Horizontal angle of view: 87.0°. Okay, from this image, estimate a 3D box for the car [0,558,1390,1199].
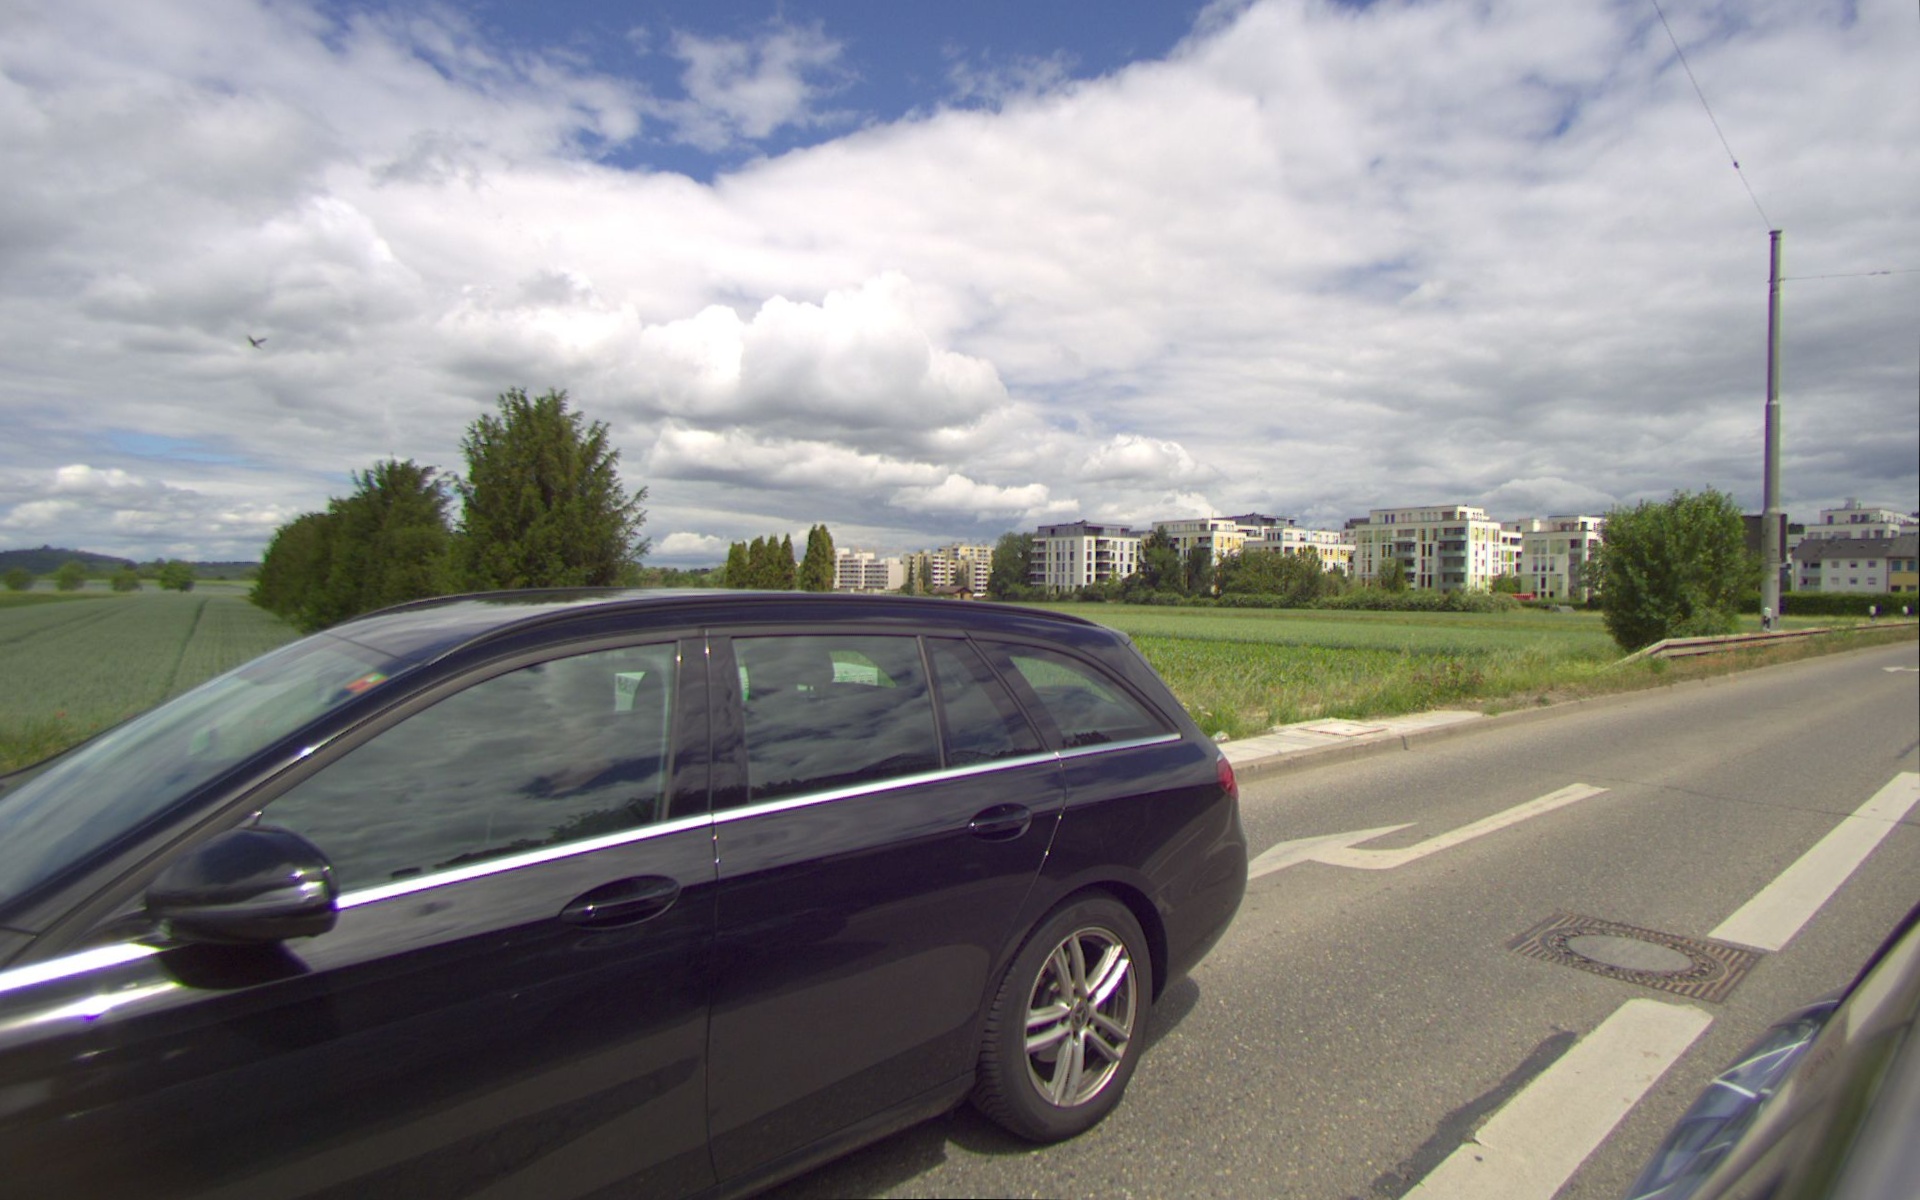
[{"bbox_3d":[-0.930,0.657,2.800,5.109,1.459,1.876,0,1,-41],"label":"car"}]
